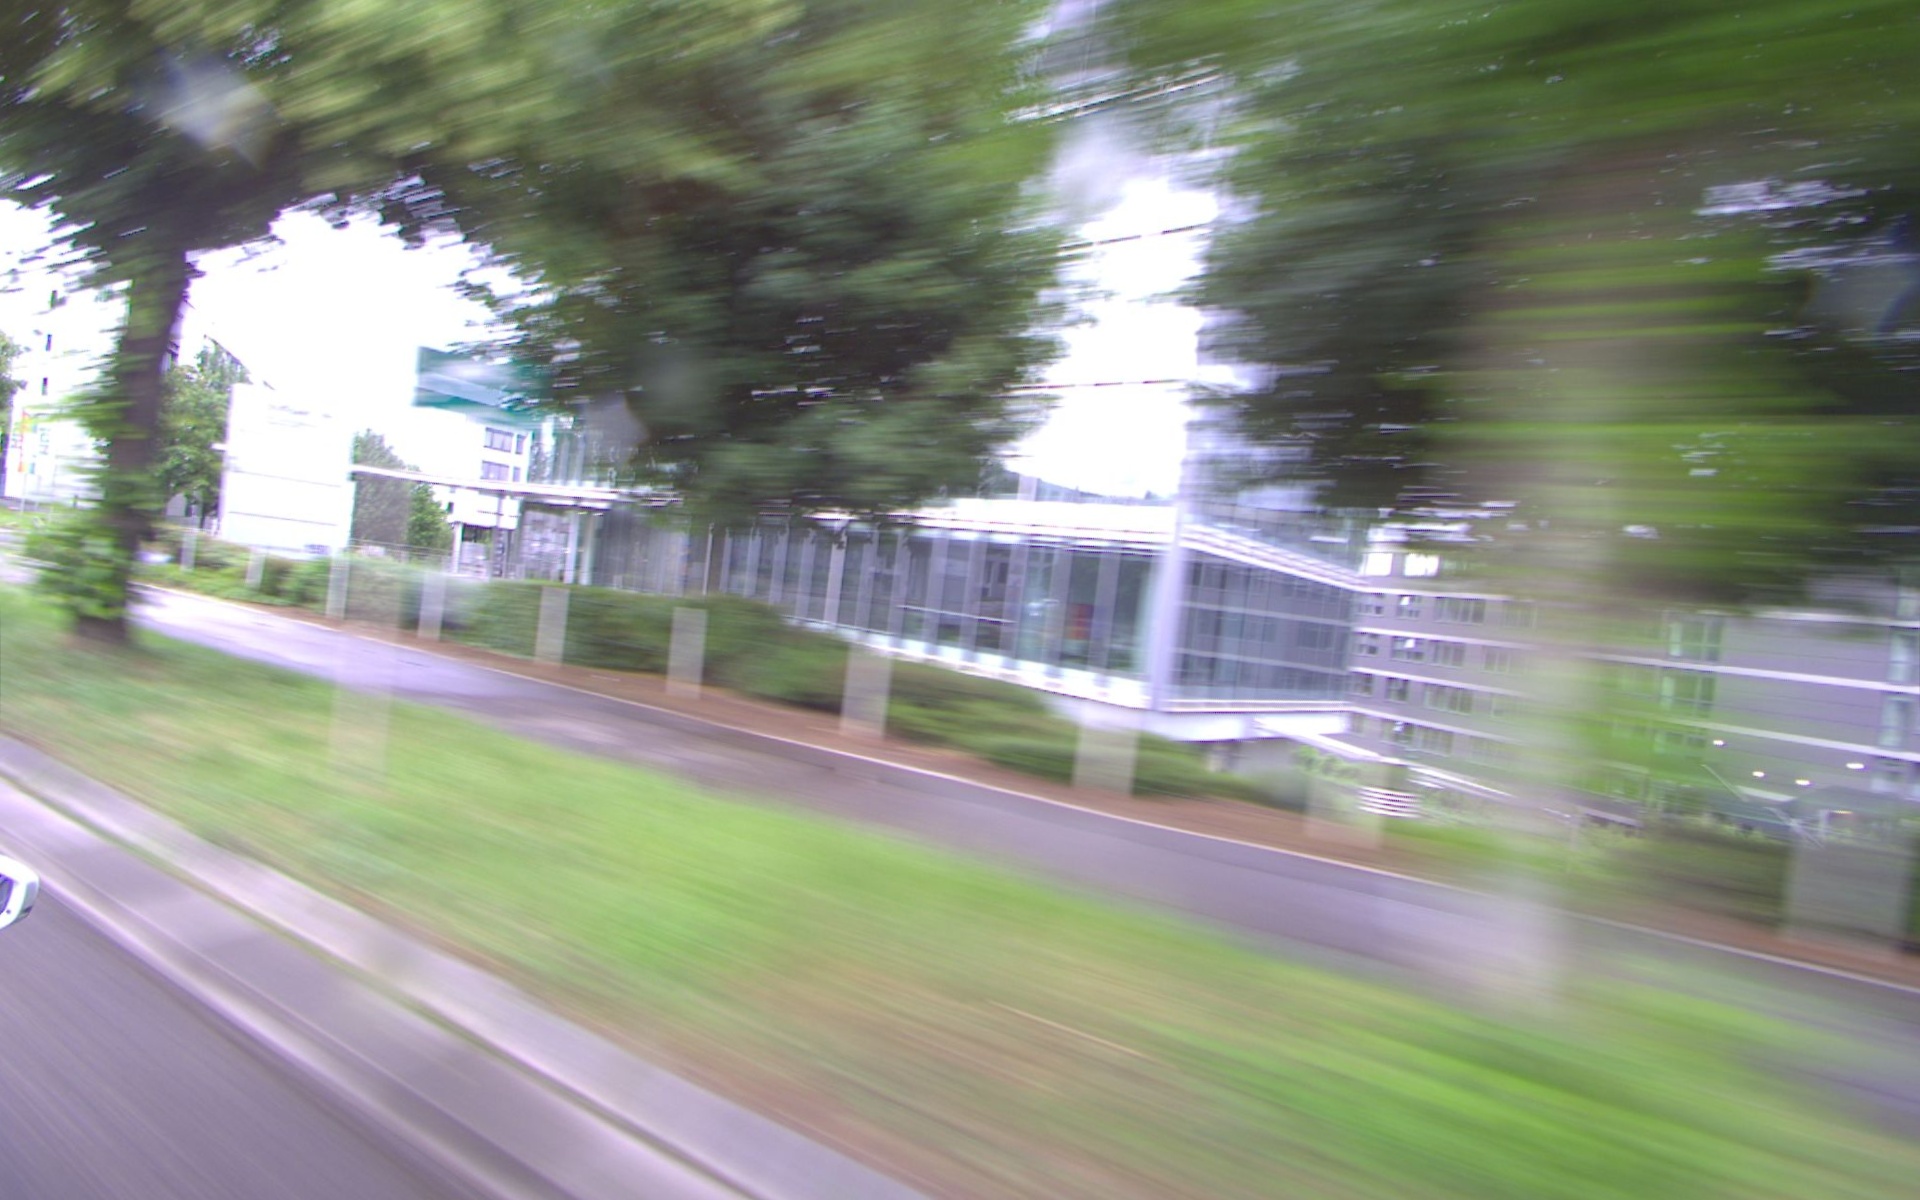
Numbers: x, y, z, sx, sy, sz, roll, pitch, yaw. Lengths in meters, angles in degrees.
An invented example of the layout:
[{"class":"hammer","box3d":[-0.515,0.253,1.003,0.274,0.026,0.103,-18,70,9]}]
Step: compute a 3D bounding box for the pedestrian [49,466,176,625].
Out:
[{"class":"pedestrian","box3d":[-10.549,-0.671,12.530,0.853,1.818,0.827,7,0,32]}]
